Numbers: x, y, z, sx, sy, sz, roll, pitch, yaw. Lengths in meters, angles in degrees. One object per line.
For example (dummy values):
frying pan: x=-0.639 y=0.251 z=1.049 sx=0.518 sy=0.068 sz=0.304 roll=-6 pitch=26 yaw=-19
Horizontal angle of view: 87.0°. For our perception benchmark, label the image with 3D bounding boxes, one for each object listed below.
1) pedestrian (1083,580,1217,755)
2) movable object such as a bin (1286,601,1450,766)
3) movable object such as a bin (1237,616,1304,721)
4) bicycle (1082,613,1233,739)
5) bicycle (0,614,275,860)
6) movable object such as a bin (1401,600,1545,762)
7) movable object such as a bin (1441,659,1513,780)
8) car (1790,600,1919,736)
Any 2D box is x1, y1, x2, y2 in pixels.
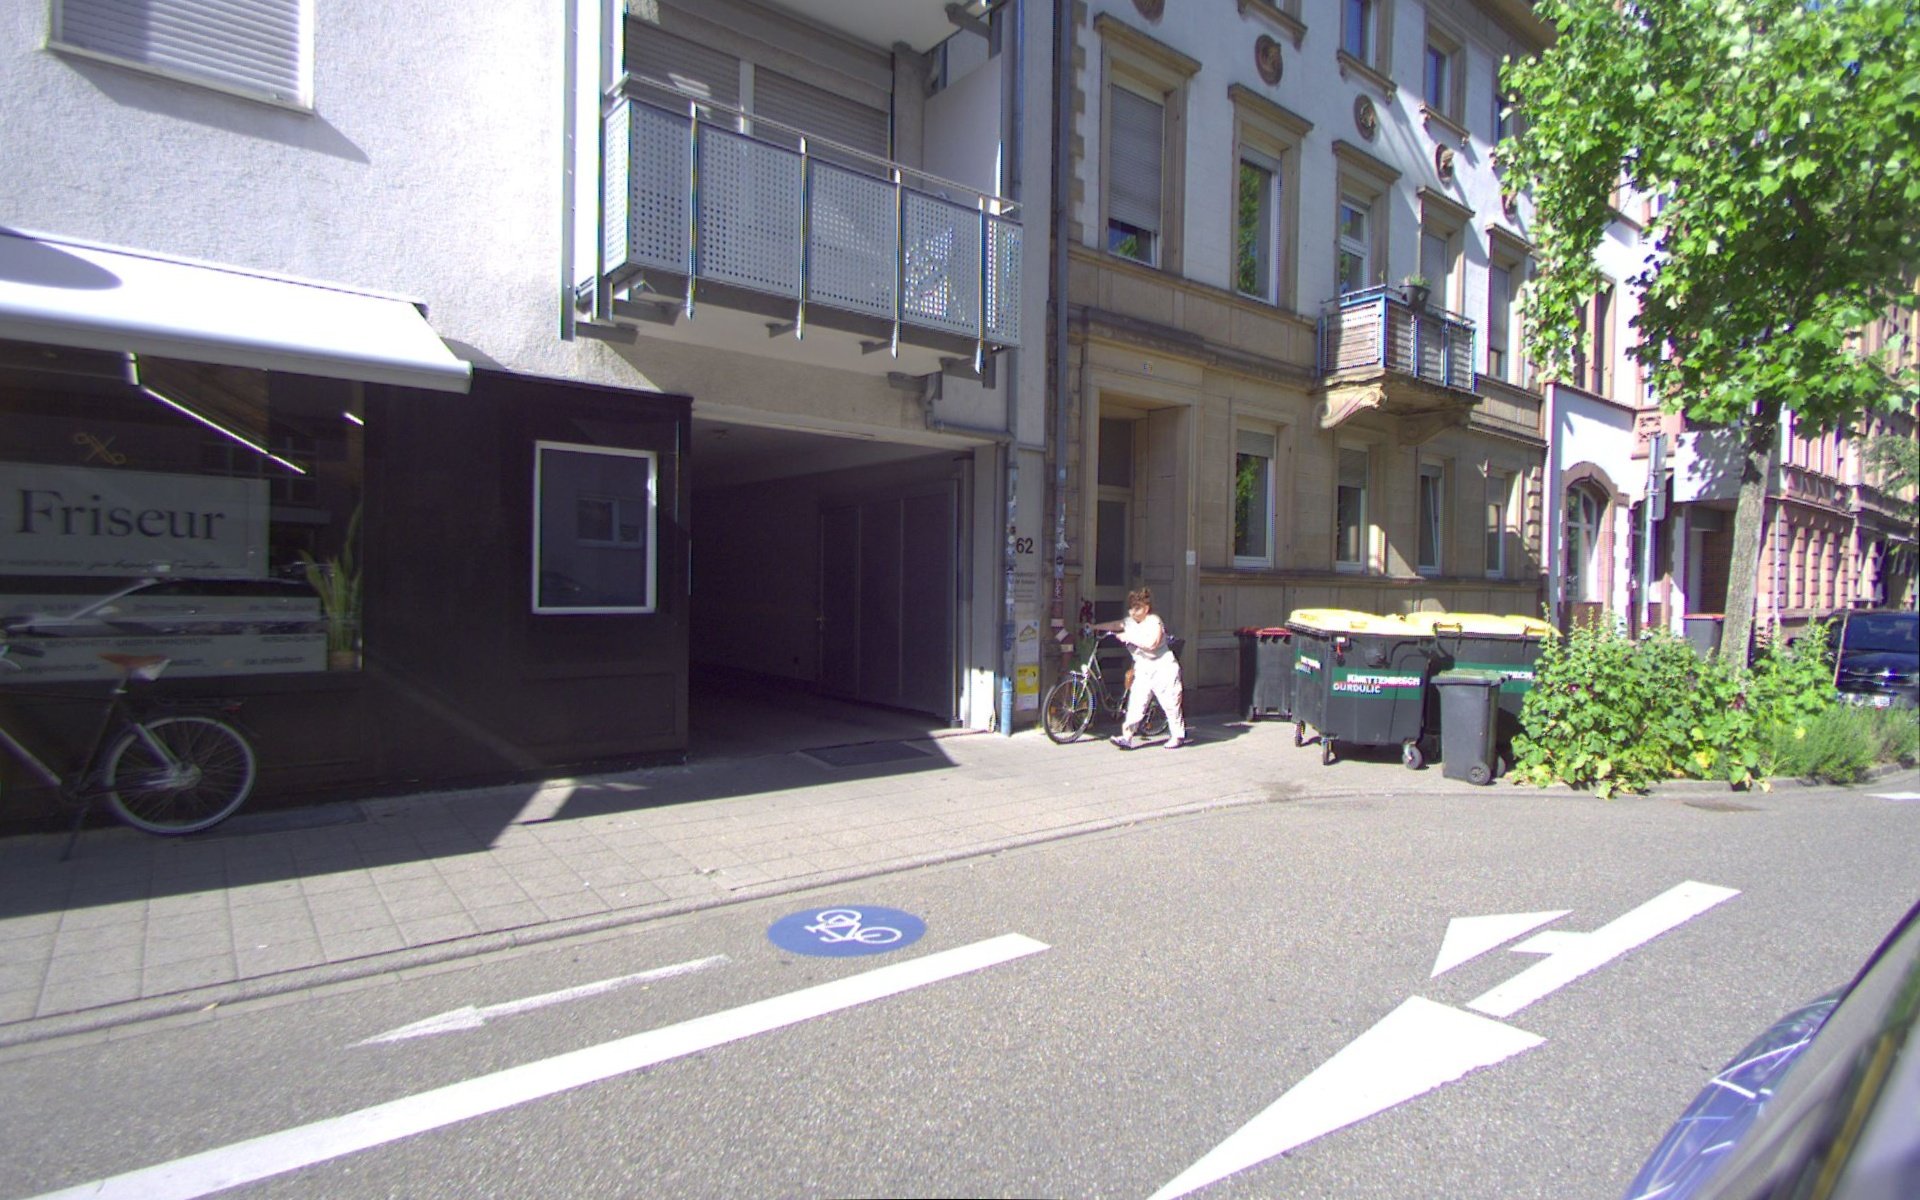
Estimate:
pedestrian: x=1.801 y=0.594 z=9.613 sx=0.929 sy=1.557 sz=0.825 roll=0 pitch=1 yaw=-38
movable object such as a bin: x=3.748 y=0.731 z=9.429 sx=1.031 sy=1.341 sz=1.215 roll=1 pitch=3 yaw=3
movable object such as a bin: x=3.514 y=0.761 z=11.485 sx=0.557 sy=1.094 sz=0.617 roll=1 pitch=3 yaw=3
bicycle: x=1.986 y=0.709 z=10.034 sx=1.759 sy=1.147 sz=0.402 roll=0 pitch=1 yaw=-38
bicycle: x=-4.657 y=0.681 z=5.282 sx=1.759 sy=1.193 sz=0.402 roll=0 pitch=1 yaw=-38
movable object such as a bin: x=4.876 y=0.727 z=9.708 sx=0.944 sy=1.364 sz=1.065 roll=2 pitch=3 yaw=13
movable object such as a bin: x=4.448 y=1.012 z=8.712 sx=0.400 sy=0.933 sz=0.477 roll=4 pitch=4 yaw=44
car: x=11.877 y=0.774 z=12.749 sx=3.291 sy=1.510 sz=1.551 roll=0 pitch=1 yaw=-39
